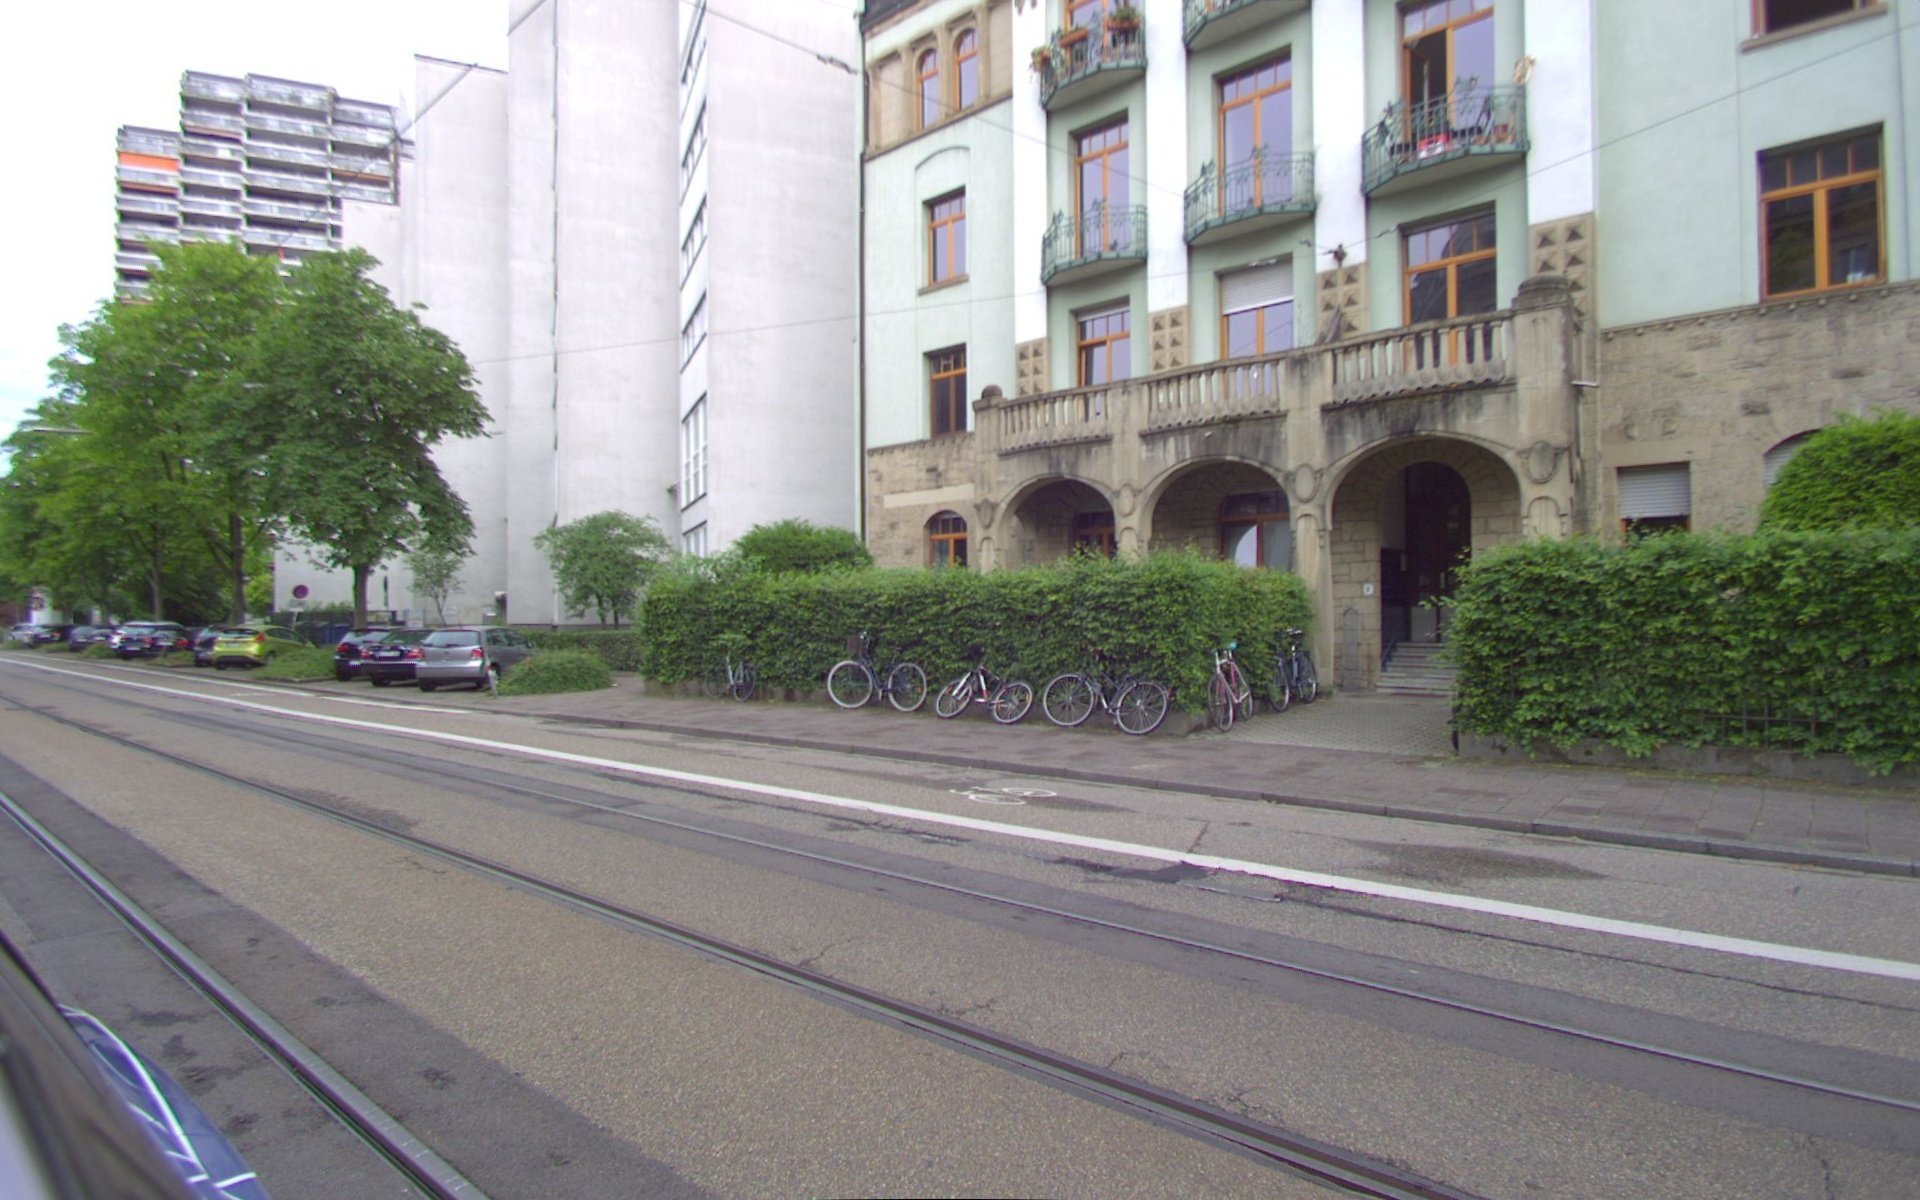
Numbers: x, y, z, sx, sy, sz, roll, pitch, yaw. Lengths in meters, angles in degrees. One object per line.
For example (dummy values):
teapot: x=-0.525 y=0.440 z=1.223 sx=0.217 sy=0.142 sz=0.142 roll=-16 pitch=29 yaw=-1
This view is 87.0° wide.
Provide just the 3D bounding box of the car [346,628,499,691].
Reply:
car: x=-13.367 y=1.434 z=25.445 sx=1.672 sy=1.413 sz=3.998 roll=0 pitch=-1 yaw=1

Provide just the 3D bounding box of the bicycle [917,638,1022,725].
bicycle: x=0.112 y=1.062 z=13.544 sx=1.546 sy=1.092 sz=0.356 roll=-2 pitch=-2 yaw=41

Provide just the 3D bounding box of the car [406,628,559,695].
car: x=-11.038 y=1.384 z=23.724 sx=1.672 sy=1.413 sz=3.998 roll=0 pitch=-1 yaw=1

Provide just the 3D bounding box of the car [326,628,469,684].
car: x=-15.367 y=1.486 z=27.888 sx=1.672 sy=1.413 sz=3.998 roll=0 pitch=-1 yaw=1

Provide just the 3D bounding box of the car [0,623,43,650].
car: x=-59.164 y=2.287 z=63.620 sx=3.996 sy=1.632 sz=1.673 roll=-1 pitch=-2 yaw=39

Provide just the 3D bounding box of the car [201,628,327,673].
car: x=-23.406 y=1.667 z=34.217 sx=1.670 sy=1.405 sz=4.002 roll=0 pitch=-1 yaw=-3

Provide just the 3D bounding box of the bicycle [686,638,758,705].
bicycle: x=-4.077 y=1.198 z=17.289 sx=1.546 sy=1.092 sz=0.356 roll=-2 pitch=-2 yaw=41

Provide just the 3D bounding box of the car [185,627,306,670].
car: x=-25.560 y=1.694 z=36.389 sx=1.670 sy=1.453 sz=4.002 roll=0 pitch=-1 yaw=-3

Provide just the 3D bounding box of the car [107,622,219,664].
car: x=-33.239 y=1.764 z=42.363 sx=1.670 sy=1.632 sz=4.002 roll=0 pitch=-1 yaw=-3

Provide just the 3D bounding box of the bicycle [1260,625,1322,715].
bicycle: x=4.450 y=0.917 z=13.569 sx=0.300 sy=1.091 sz=1.190 roll=-2 pitch=1 yaw=42

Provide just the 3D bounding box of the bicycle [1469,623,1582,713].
bicycle: x=7.162 y=0.847 z=12.834 sx=1.203 sy=1.091 sz=0.297 roll=-2 pitch=0 yaw=35

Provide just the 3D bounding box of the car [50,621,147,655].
car: x=-43.750 y=1.916 z=51.512 sx=1.670 sy=1.632 sz=4.002 roll=0 pitch=-1 yaw=-3

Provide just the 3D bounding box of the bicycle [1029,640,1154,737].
bicycle: x=1.563 y=1.037 z=12.215 sx=1.546 sy=1.092 sz=0.356 roll=-2 pitch=-2 yaw=41

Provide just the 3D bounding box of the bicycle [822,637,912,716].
bicycle: x=-1.396 y=1.105 z=14.933 sx=1.546 sy=1.092 sz=0.356 roll=-2 pitch=-2 yaw=41

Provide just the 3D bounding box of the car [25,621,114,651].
car: x=-50.702 y=2.021 z=57.693 sx=1.670 sy=1.632 sz=4.002 roll=0 pitch=-1 yaw=-3

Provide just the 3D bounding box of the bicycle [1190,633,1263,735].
bicycle: x=3.192 y=0.973 z=12.082 sx=0.300 sy=1.091 sz=1.190 roll=-2 pitch=1 yaw=42
